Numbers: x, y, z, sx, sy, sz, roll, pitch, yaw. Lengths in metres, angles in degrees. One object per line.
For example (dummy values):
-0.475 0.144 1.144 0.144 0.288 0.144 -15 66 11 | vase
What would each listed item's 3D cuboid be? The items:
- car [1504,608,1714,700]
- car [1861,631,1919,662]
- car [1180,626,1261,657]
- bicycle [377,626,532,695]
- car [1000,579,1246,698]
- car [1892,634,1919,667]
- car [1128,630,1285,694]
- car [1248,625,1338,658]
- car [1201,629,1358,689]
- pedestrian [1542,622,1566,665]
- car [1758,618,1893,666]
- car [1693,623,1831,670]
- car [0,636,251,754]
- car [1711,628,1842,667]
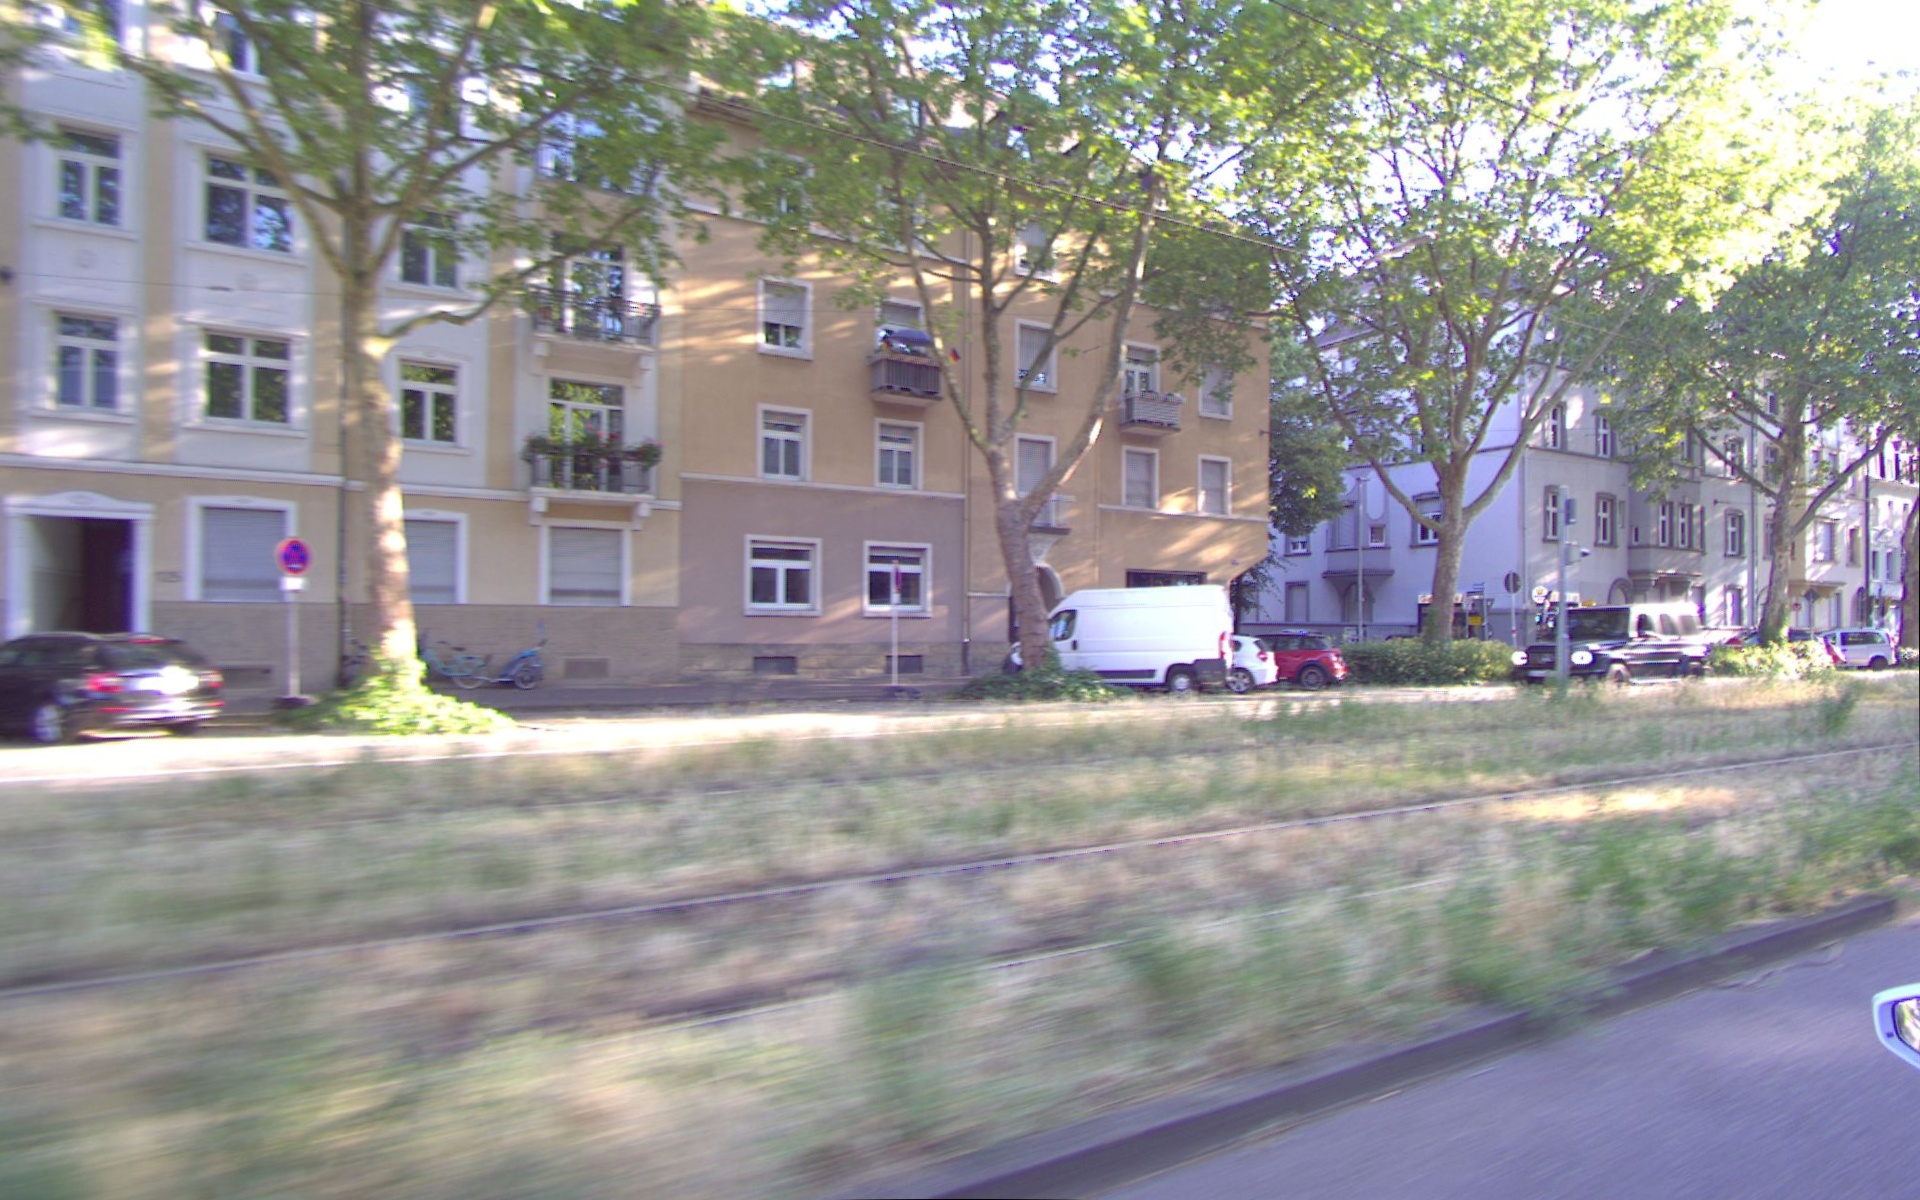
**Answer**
13.525 1.098 20.865 4.723 1.716 1.859 2 -2 -32 | car
45.029 2.193 47.074 3.928 1.374 1.583 0 -2 30 | car
13.608 2.132 52.662 1.794 1.528 3.966 1 -1 -31 | car
-10.871 1.266 21.688 2.925 1.409 0.738 1 -1 -30 | bicycle
3.830 0.846 23.448 5.399 2.563 2.127 0 -1 19 | car
49.257 2.462 49.900 3.929 1.573 1.853 -3 -2 29 | car
6.126 1.490 24.861 3.636 1.418 1.737 0 -1 19 | car
16.154 1.976 48.915 1.794 1.528 3.966 1 -1 -31 | car
8.417 1.521 26.496 3.643 1.485 1.733 -2 -2 29 | car
25.349 1.849 42.855 0.663 1.783 0.625 1 -1 -24 | pedestrian
36.994 1.779 43.063 3.923 1.906 1.999 0 -2 23 | car
31.760 1.812 39.893 3.922 1.746 1.784 0 -2 22 | car
-12.198 1.263 14.203 3.654 1.441 1.722 0 -1 19 | car
33.753 1.952 41.650 3.922 1.467 1.585 0 -2 22 | car
